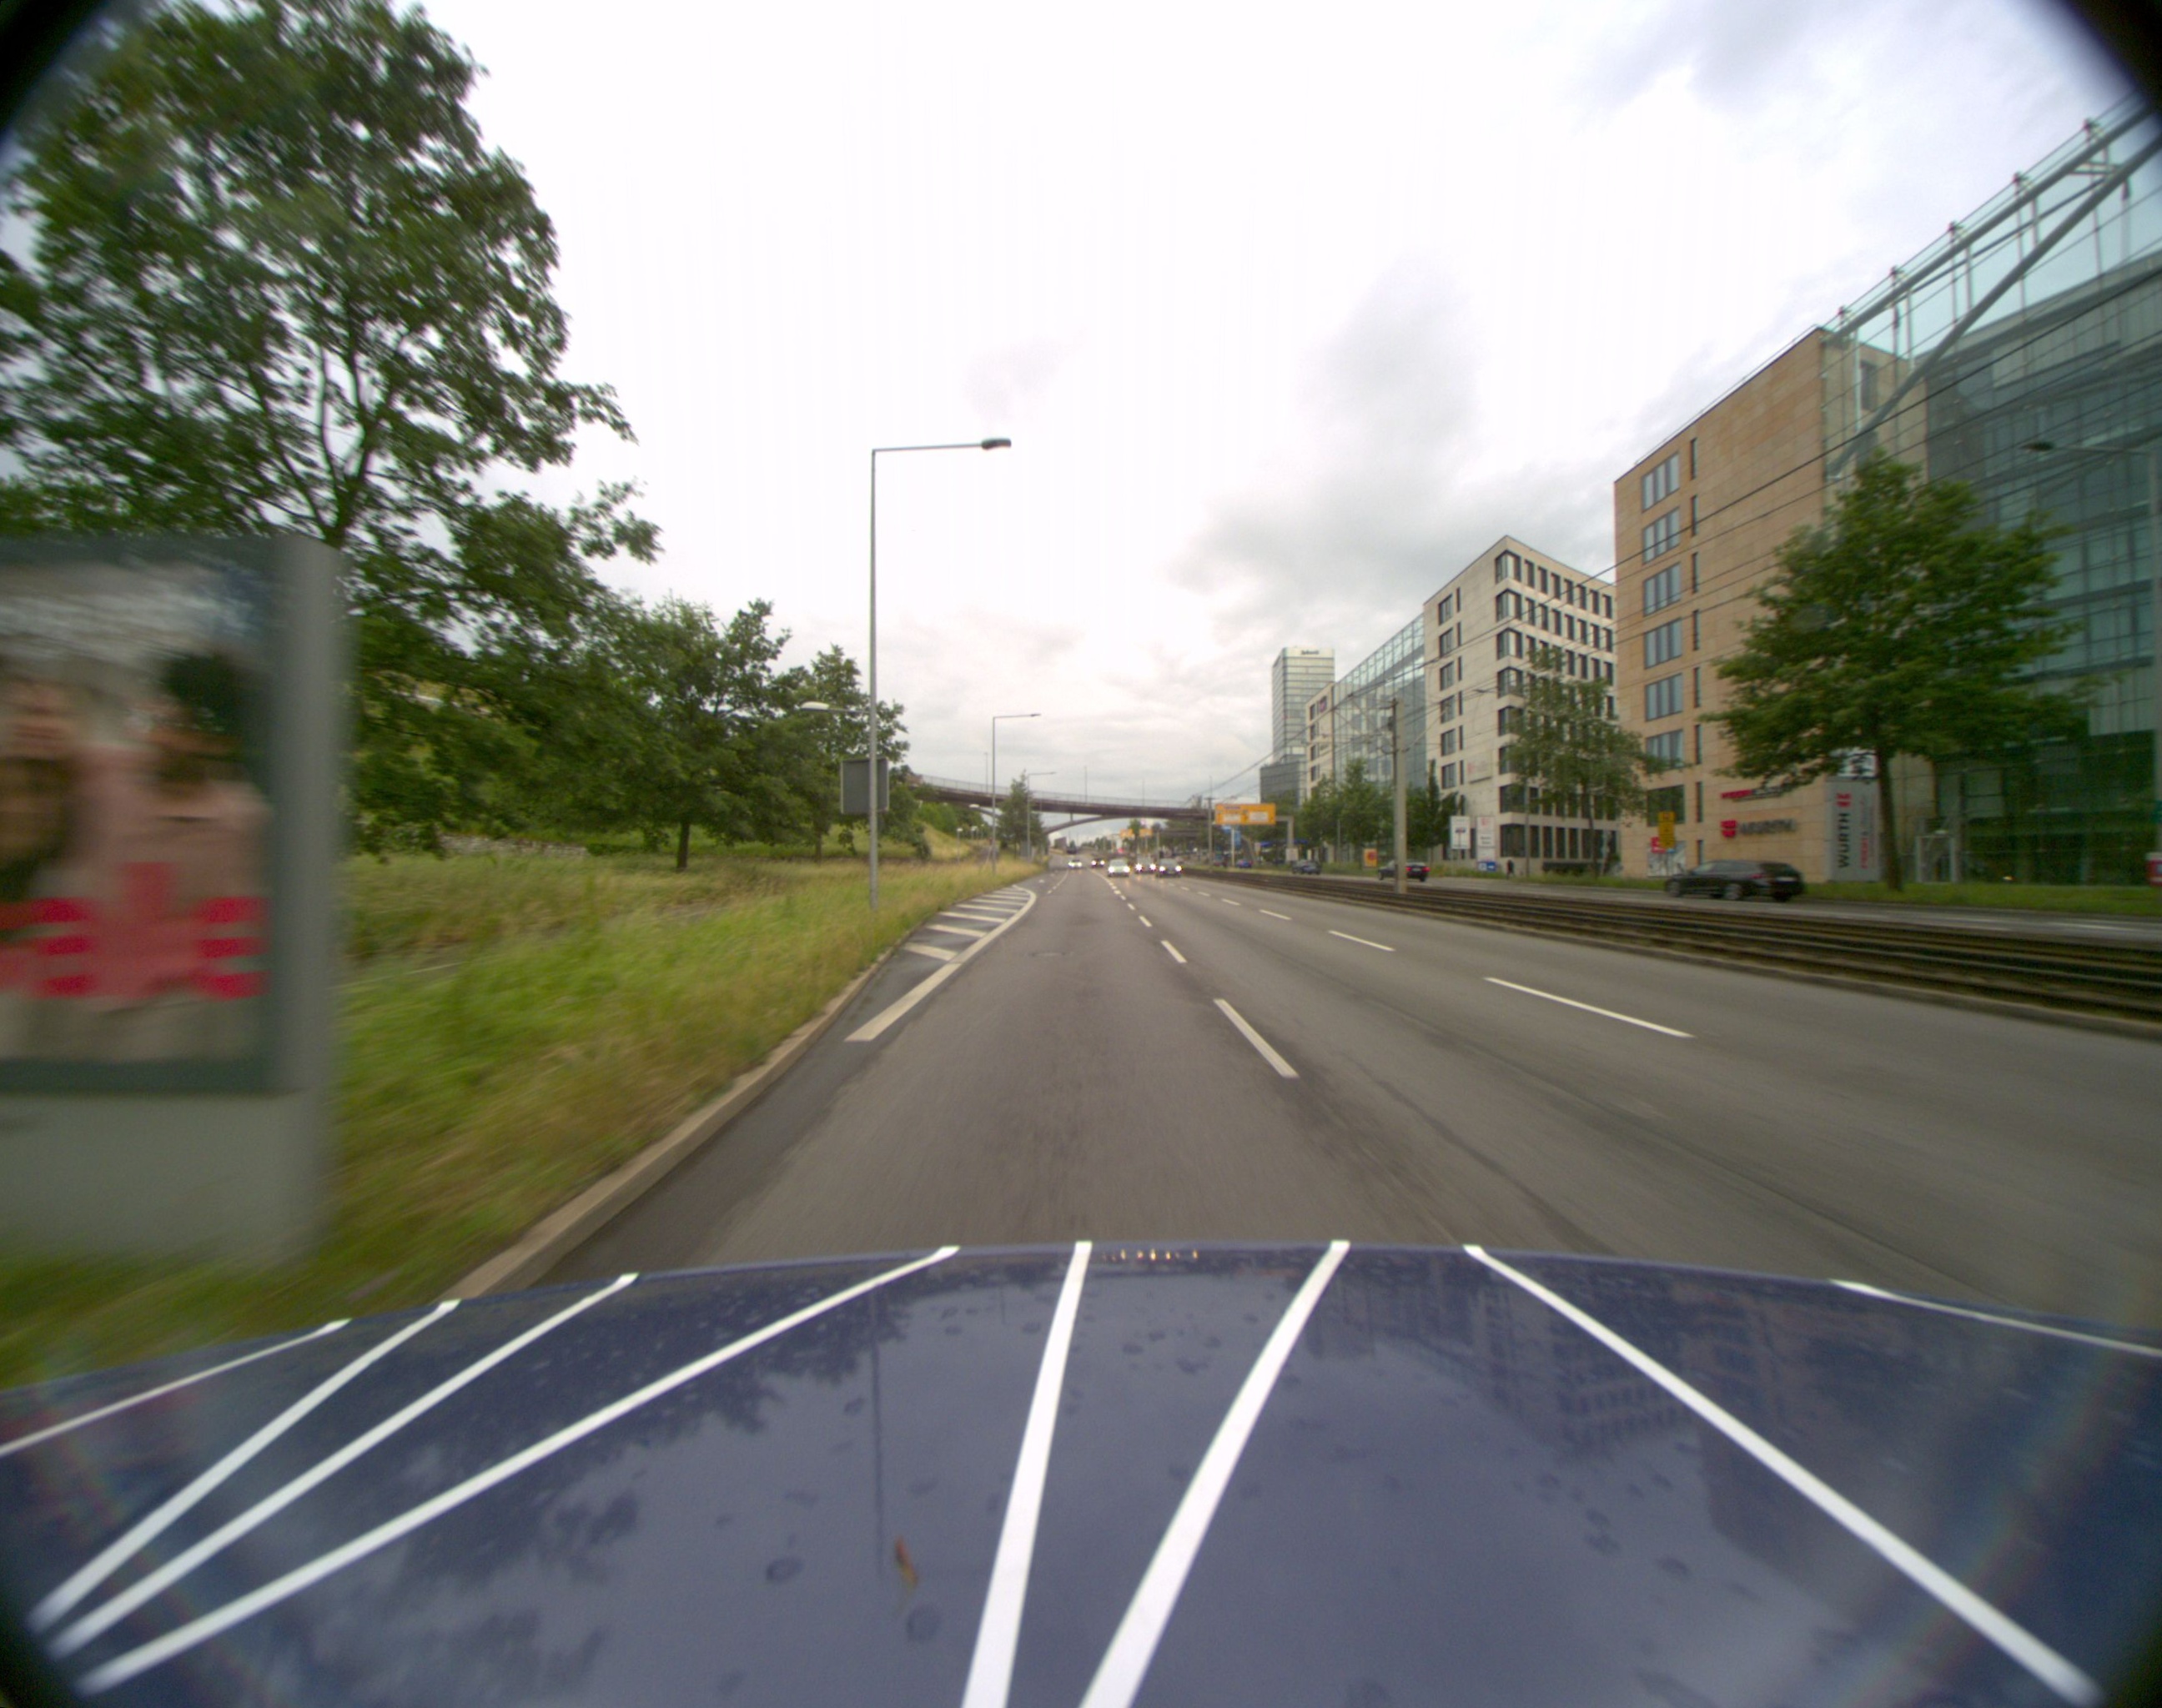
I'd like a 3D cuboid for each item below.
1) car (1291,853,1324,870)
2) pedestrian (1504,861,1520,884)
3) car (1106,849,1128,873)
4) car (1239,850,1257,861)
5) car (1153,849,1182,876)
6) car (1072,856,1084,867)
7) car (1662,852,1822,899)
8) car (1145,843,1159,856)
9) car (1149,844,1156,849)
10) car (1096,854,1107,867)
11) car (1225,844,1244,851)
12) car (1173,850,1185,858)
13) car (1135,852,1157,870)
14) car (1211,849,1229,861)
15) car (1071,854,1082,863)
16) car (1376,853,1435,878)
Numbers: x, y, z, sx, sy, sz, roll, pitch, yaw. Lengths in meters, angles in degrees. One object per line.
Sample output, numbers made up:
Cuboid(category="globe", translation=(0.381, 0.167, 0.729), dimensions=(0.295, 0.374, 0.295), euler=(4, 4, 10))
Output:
Cuboid(category="car", translation=(21.985, 0.699, 73.810), dimensions=(1.845, 1.477, 4.654), euler=(2, 0, 1))
Cuboid(category="pedestrian", translation=(31.374, 1.339, 55.300), dimensions=(0.643, 1.622, 0.831), euler=(-2, 2, -2))
Cuboid(category="car", translation=(3.120, 0.554, 66.830), dimensions=(1.794, 1.858, 4.376), euler=(-2, 2, 1))
Cuboid(category="car", translation=(25.020, 0.242, 114.181), dimensions=(1.845, 1.446, 4.023), euler=(-2, 2, 1))
Cuboid(category="car", translation=(6.838, 0.624, 60.460), dimensions=(1.794, 1.858, 4.376), euler=(-2, 2, 1))
Cuboid(category="car", translation=(-0.512, 1.172, 125.535), dimensions=(1.794, 1.622, 4.376), euler=(-2, 2, 1))
Cuboid(category="car", translation=(23.438, 0.714, 27.214), dimensions=(1.845, 1.477, 4.430), euler=(2, 0, 1))
Cuboid(category="car", translation=(15.849, -0.947, 170.251), dimensions=(2.389, 2.801, 5.610), euler=(-2, 1, -1))
Cuboid(category="car", translation=(22.938, -2.306, 242.681), dimensions=(1.814, 1.524, 4.274), euler=(-2, 0, 0))
Cuboid(category="car", translation=(3.337, 1.041, 124.656), dimensions=(1.794, 1.858, 4.376), euler=(-2, 2, 1))
Cuboid(category="car", translation=(37.553, -1.678, 186.270), dimensions=(4.363, 1.495, 1.885), euler=(-2, 2, 3))
Cuboid(category="car", translation=(20.994, -0.002, 162.815), dimensions=(1.764, 1.524, 4.817), euler=(-2, 0, 1))
Cuboid(category="car", translation=(6.486, 0.675, 76.177), dimensions=(1.794, 1.536, 4.376), euler=(-2, 2, 1))
Cuboid(category="car", translation=(18.832, 0.128, 102.947), dimensions=(1.776, 1.493, 4.199), euler=(-2, 2, 3))
Cuboid(category="car", translation=(-0.865, 0.852, 144.217), dimensions=(1.794, 1.622, 4.375), euler=(-2, 2, -1))
Cuboid(category="car", translation=(20.912, 0.687, 49.175), dimensions=(1.845, 1.477, 4.654), euler=(2, 0, 1))
